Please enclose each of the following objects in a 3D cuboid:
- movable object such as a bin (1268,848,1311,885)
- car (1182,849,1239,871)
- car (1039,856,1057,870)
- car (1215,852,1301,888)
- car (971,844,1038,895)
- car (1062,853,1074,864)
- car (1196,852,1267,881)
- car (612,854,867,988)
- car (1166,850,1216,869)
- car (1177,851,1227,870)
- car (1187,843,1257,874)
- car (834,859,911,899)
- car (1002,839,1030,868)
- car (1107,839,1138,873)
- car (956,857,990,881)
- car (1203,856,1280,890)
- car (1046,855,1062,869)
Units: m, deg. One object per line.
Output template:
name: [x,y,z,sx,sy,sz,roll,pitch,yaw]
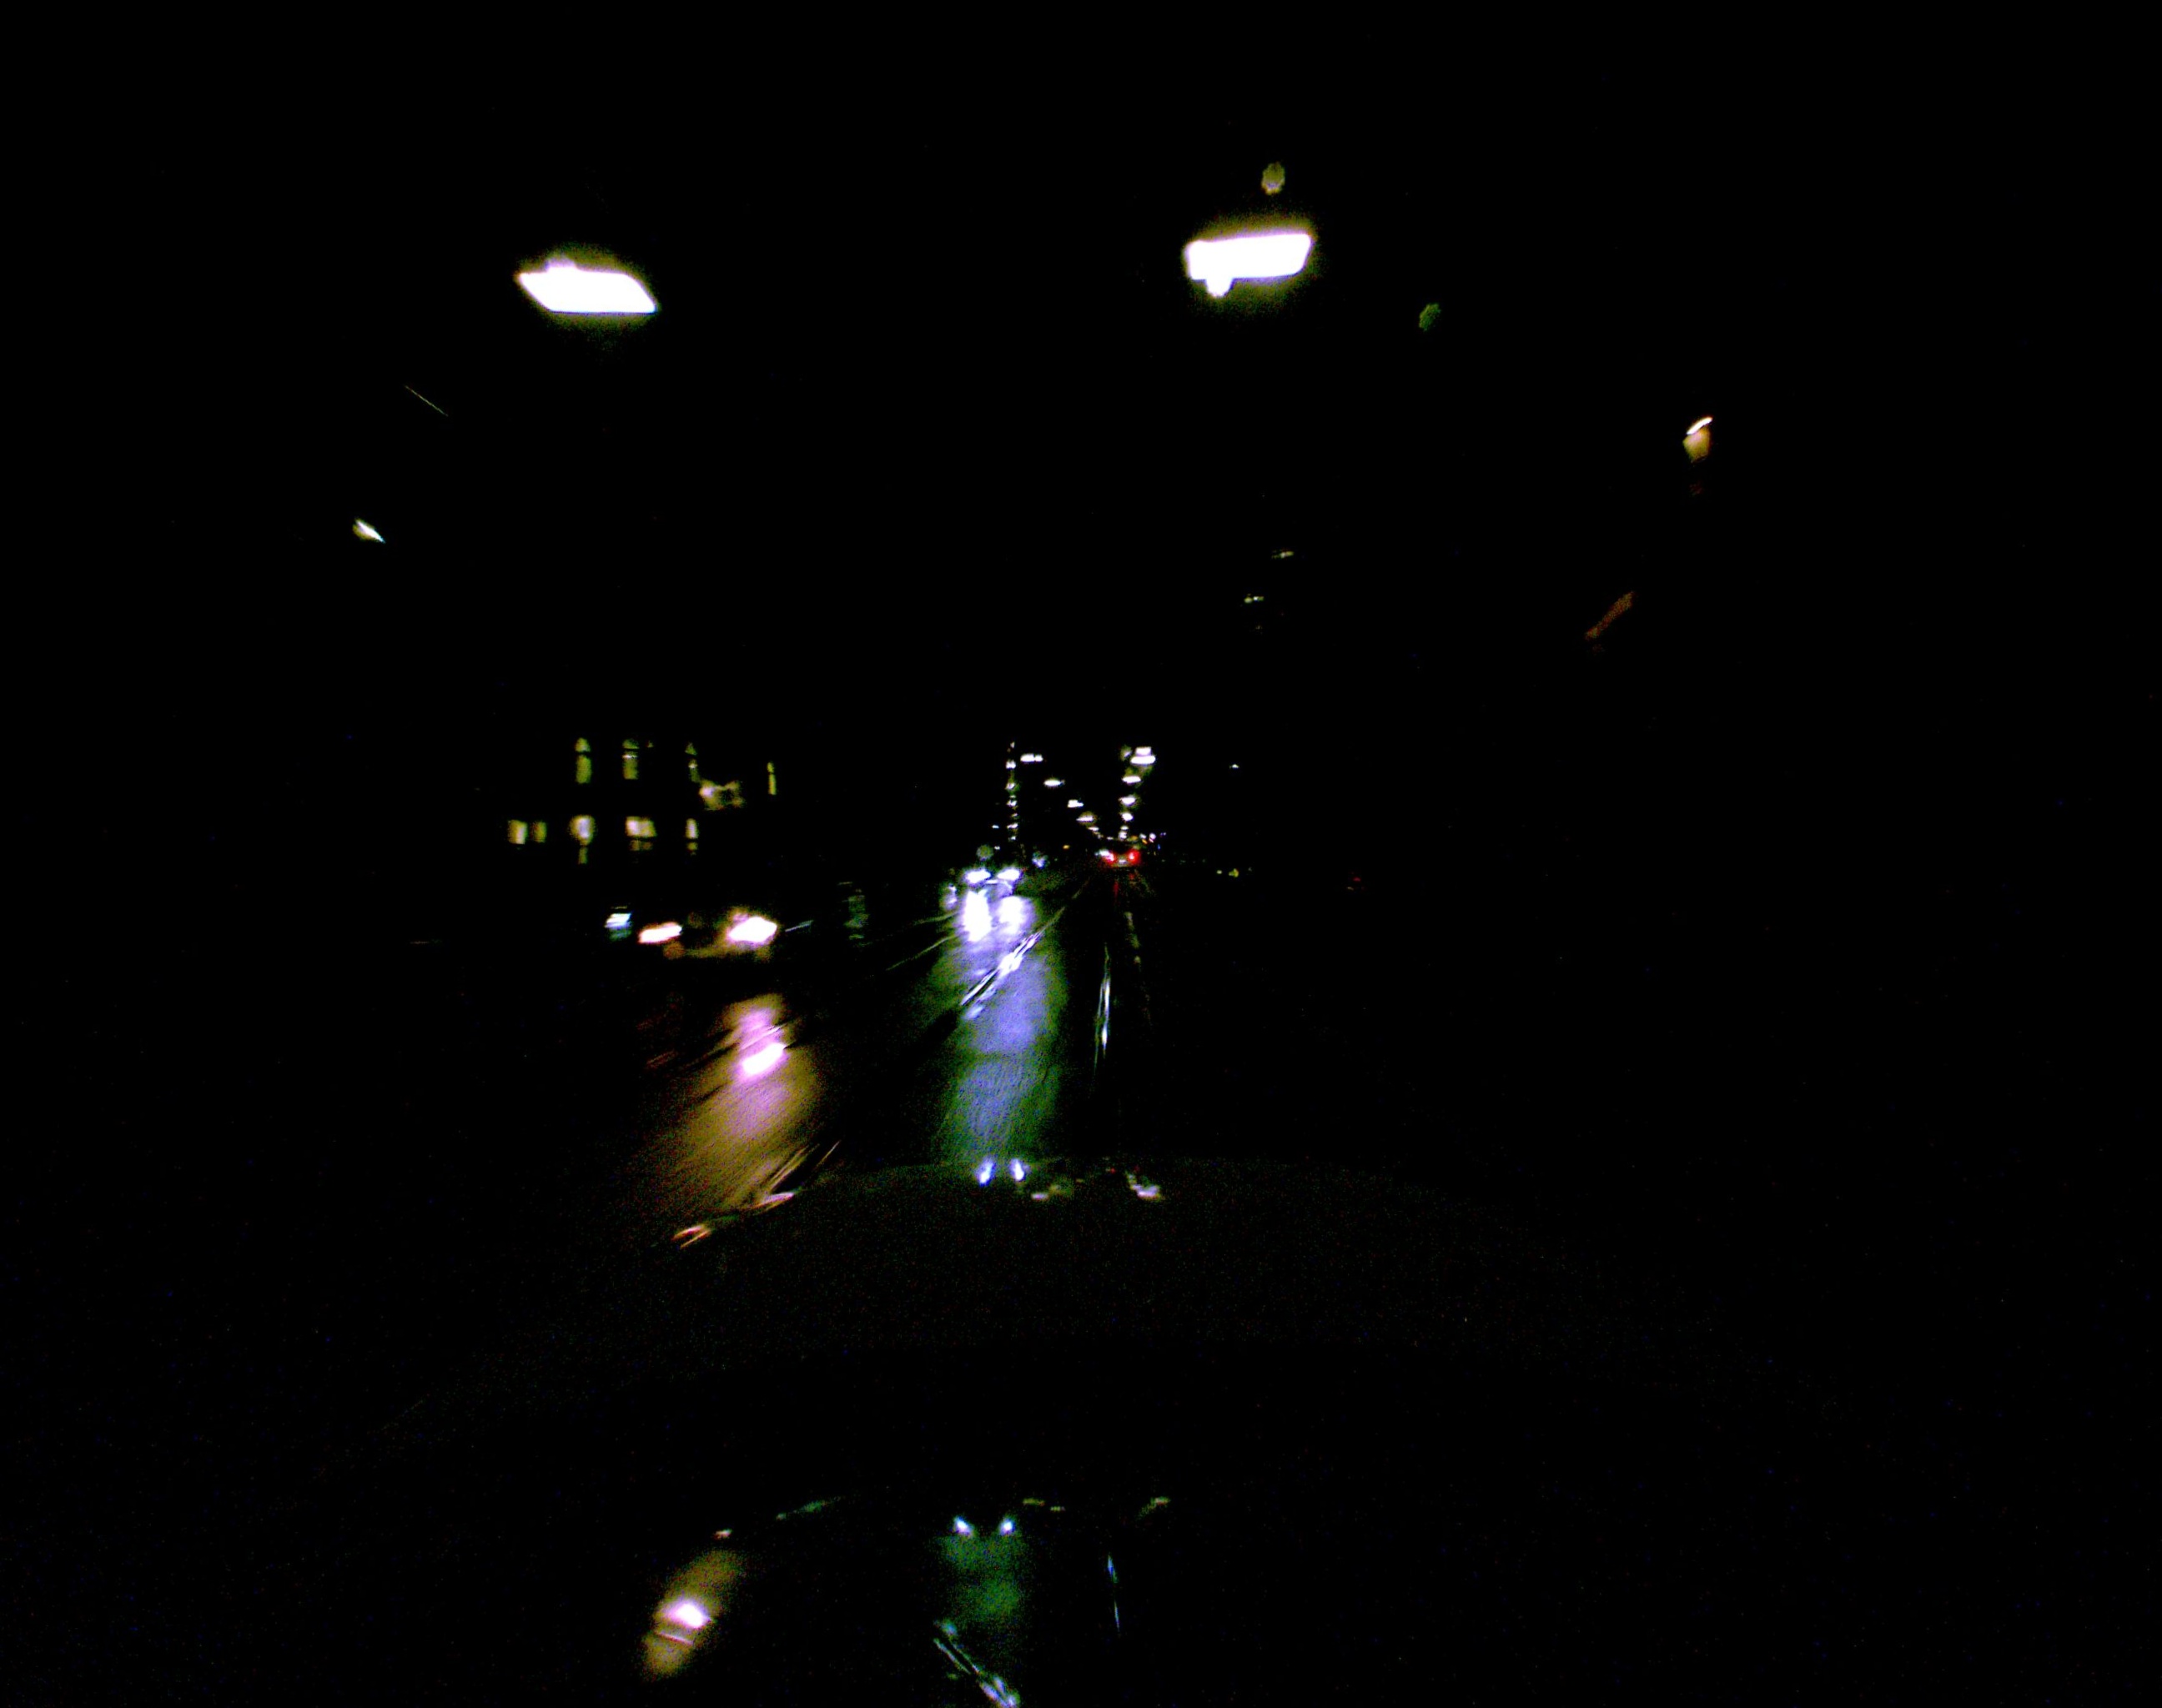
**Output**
movable object such as a bin: [8.369,0.497,32.732,1.351,1.407,1.020,-1,0,-18]
car: [9.009,0.387,56.414,1.671,1.404,4.484,0,2,44]
car: [-4.352,1.215,107.171,2.101,1.765,4.964,1,-1,0]
car: [7.838,0.692,35.945,3.809,1.458,1.749,1,0,-40]
car: [-2.950,0.577,32.486,1.930,1.815,4.389,-3,0,3]
car: [-2.290,0.812,146.703,2.015,1.761,4.002,1,-1,2]
car: [7.860,0.643,42.312,3.856,1.438,1.581,1,0,-42]
car: [-4.555,0.781,11.637,1.645,1.479,4.208,-2,0,3]
car: [8.912,0.420,65.909,3.908,1.533,1.800,0,0,-39]
car: [9.408,0.525,63.250,3.877,1.433,1.799,1,0,-43]
car: [8.676,0.282,49.864,4.194,1.839,1.940,1,0,-39]
car: [-7.924,0.930,31.294,1.661,1.386,4.004,1,-1,3]
car: [-5.864,-0.067,73.816,2.018,2.499,5.607,1,0,0]
car: [3.102,0.140,61.851,2.209,2.441,5.385,0,0,1]
car: [-6.881,0.941,52.164,1.604,1.428,3.809,1,0,1]
car: [7.698,0.874,38.864,1.785,1.488,3.878,-1,0,45]
car: [-3.830,1.140,115.591,1.992,1.785,4.002,1,-1,2]
